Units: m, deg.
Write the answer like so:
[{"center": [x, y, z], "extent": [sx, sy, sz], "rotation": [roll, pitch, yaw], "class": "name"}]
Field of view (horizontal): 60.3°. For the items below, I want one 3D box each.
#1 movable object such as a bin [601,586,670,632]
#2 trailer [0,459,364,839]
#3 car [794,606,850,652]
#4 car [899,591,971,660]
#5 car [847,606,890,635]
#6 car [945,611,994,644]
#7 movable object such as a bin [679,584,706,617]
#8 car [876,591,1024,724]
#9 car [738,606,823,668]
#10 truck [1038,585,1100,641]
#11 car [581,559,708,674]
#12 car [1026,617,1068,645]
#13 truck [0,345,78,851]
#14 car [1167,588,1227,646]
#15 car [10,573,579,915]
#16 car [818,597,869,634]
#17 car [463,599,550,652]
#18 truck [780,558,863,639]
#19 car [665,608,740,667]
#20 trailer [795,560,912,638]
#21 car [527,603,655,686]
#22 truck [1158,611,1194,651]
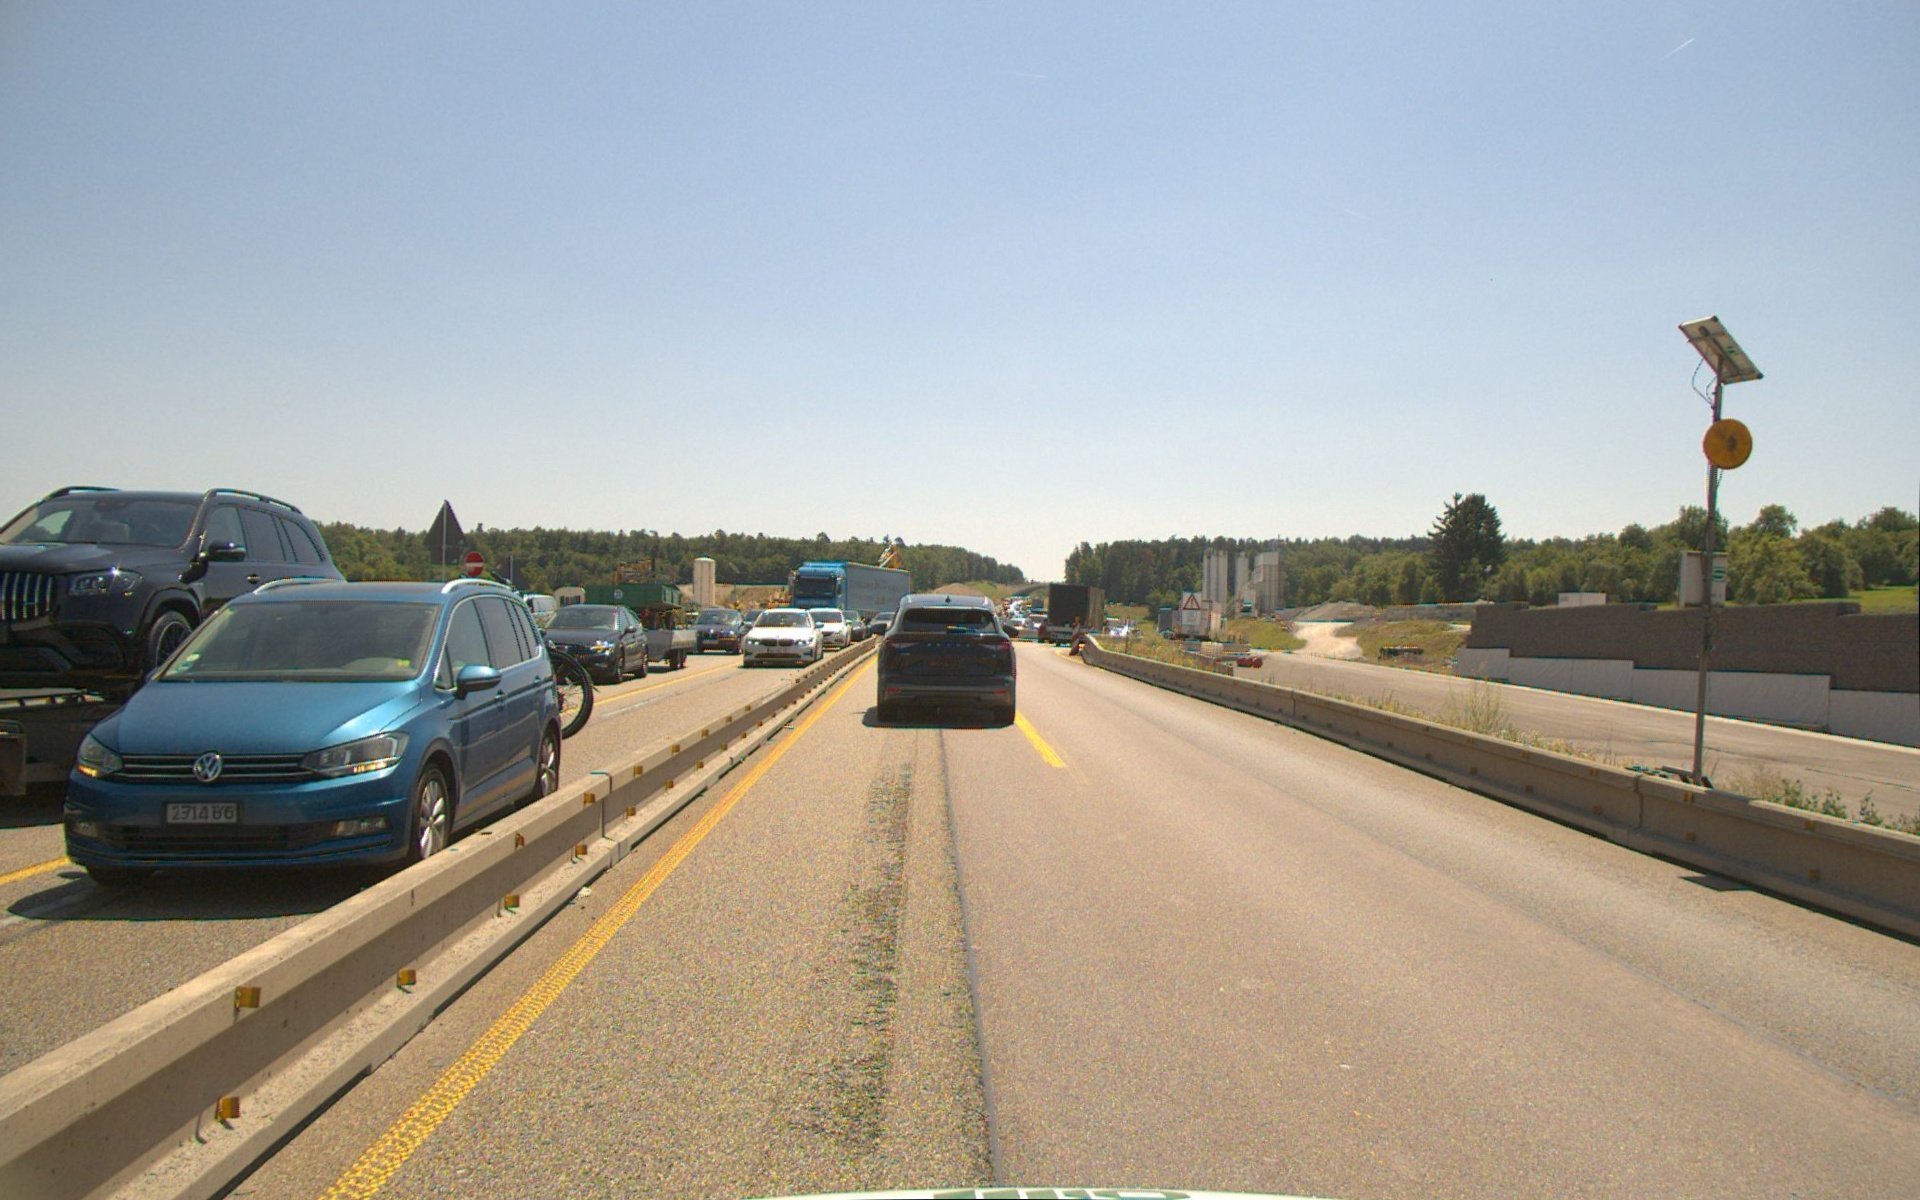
[{"center": [-25.545, 0.741, 130.479], "extent": [3.715, 3.312, 5.560], "rotation": [4, 0, 5], "class": "movable object such as a bin"}, {"center": [-6.728, 0.286, 13.031], "extent": [2.137, 2.355, 5.612], "rotation": [0, 0, -1], "class": "trailer"}, {"center": [-4.850, 0.984, 58.596], "extent": [1.698, 1.504, 4.519], "rotation": [0, 0, -1], "class": "car"}, {"center": [-0.778, 0.723, 48.537], "extent": [1.954, 1.876, 3.998], "rotation": [3, 0, -2], "class": "car"}, {"center": [-4.795, 1.058, 87.169], "extent": [1.555, 1.466, 4.128], "rotation": [0, 0, 8], "class": "car"}, {"center": [0.485, 1.318, 81.388], "extent": [2.002, 1.553, 5.069], "rotation": [1, 0, 5], "class": "car"}, {"center": [-28.649, 0.025, 177.079], "extent": [2.379, 3.180, 5.466], "rotation": [5, 0, -11], "class": "movable object such as a bin"}, {"center": [-0.145, 0.708, 22.409], "extent": [1.805, 1.609, 3.999], "rotation": [1, 0, -1], "class": "car"}, {"center": [-4.486, 0.899, 41.784], "extent": [1.780, 1.400, 4.246], "rotation": [1, 0, -2], "class": "car"}, {"center": [6.075, 0.749, 91.601], "extent": [2.616, 2.997, 5.624], "rotation": [1, -1, 12], "class": "truck"}, {"center": [-7.445, 0.349, 39.644], "extent": [1.876, 2.440, 6.450], "rotation": [3, 0, -2], "class": "car"}, {"center": [5.545, 1.980, 104.891], "extent": [1.782, 1.673, 3.867], "rotation": [3, -1, 15], "class": "car"}, {"center": [-6.607, 0.009, 6.138], "extent": [2.429, 2.873, 8.127], "rotation": [0, 0, -1], "class": "truck"}, {"center": [19.145, 1.465, 133.082], "extent": [3.365, 4.171, 9.202], "rotation": [5, 0, 15], "class": "car"}, {"center": [-3.688, 0.679, 10.030], "extent": [1.866, 1.637, 3.999], "rotation": [1, 1, -1], "class": "car"}, {"center": [-5.001, 0.659, 71.583], "extent": [1.975, 1.470, 4.586], "rotation": [1, 1, -2], "class": "car"}, {"center": [-18.180, 0.989, 66.570], "extent": [1.877, 1.975, 5.096], "rotation": [1, 1, 3], "class": "car"}, {"center": [-7.499, -0.058, 90.169], "extent": [2.852, 4.201, 6.143], "rotation": [1, 0, 11], "class": "truck"}, {"center": [-7.681, 1.096, 49.687], "extent": [1.731, 1.625, 3.999], "rotation": [1, 1, -2], "class": "car"}, {"center": [-6.015, -0.031, 96.838], "extent": [2.852, 4.201, 13.927], "rotation": [1, 0, 13], "class": "trailer"}, {"center": [-7.126, 0.819, 32.339], "extent": [1.653, 1.478, 4.334], "rotation": [0, 0, -2], "class": "car"}, {"center": [25.502, 3.646, 195.799], "extent": [3.404, 4.292, 10.382], "rotation": [6, 0, 5], "class": "truck"}]
